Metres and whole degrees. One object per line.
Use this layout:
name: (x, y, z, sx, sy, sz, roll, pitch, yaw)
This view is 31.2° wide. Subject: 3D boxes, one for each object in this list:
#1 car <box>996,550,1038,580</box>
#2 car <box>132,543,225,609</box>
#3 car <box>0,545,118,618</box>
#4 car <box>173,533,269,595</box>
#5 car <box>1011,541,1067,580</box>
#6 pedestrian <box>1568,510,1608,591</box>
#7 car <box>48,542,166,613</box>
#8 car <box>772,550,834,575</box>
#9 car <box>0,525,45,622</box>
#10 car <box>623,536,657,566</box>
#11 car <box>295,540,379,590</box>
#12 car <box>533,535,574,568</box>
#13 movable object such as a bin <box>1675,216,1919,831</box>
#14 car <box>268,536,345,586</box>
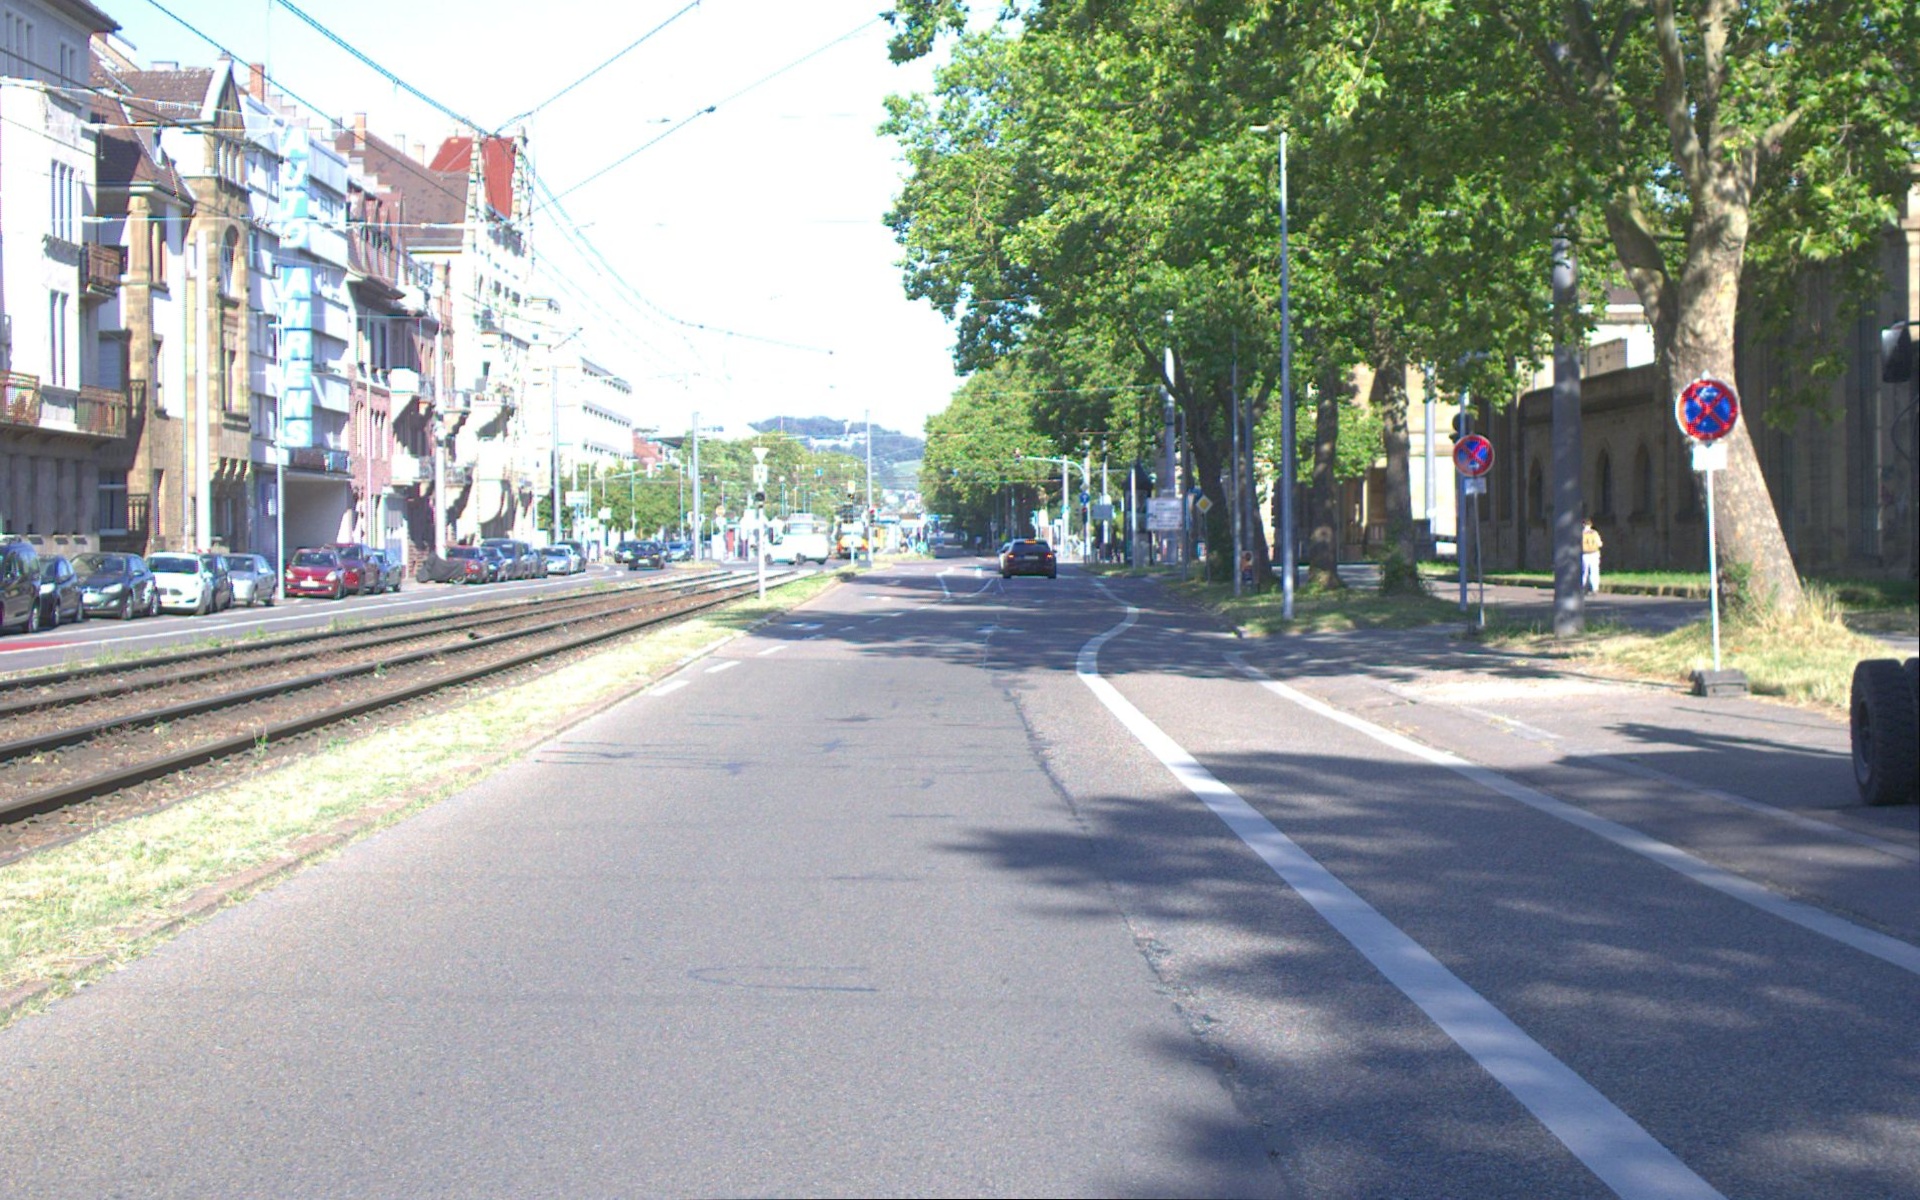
car: (2.686, -1.686, 162.709, 1.833, 1.386, 4.159, 0, 1, -1)
car: (-18.786, -0.562, 82.774, 1.635, 1.464, 3.984, 3, -1, -6)
car: (-18.827, -0.397, 71.882, 1.627, 1.386, 3.509, 3, 1, -2)
car: (-19.647, -0.935, 91.497, 1.635, 1.464, 4.159, 1, -1, 0)
car: (2.839, -1.426, 124.074, 1.833, 1.386, 4.159, 0, 1, -1)
pedestrian: (13.399, -1.057, 73.362, 0.608, 1.676, 0.636, -5, 1, -2)
car: (-19.171, -0.521, 77.374, 1.635, 1.464, 4.159, 3, 1, -1)
car: (-9.859, -2.354, 215.896, 1.795, 1.505, 3.998, 1, 0, -41)
car: (-19.013, -0.526, 65.828, 1.862, 1.780, 4.402, 1, 2, -1)
car: (-17.870, -2.726, 191.949, 1.635, 1.596, 4.160, -2, 1, -2)
car: (-19.769, -1.117, 109.225, 1.833, 1.553, 4.353, 1, 1, 0)
car: (-20.180, -2.429, 170.812, 1.794, 1.505, 4.001, 3, 1, -5)
movable object such as a bin: (6.276, -0.501, 19.704, 2.744, 3.134, 7.219, -4, 1, 1)
car: (-19.578, -1.170, 103.119, 1.833, 1.386, 4.036, 3, 1, -5)
